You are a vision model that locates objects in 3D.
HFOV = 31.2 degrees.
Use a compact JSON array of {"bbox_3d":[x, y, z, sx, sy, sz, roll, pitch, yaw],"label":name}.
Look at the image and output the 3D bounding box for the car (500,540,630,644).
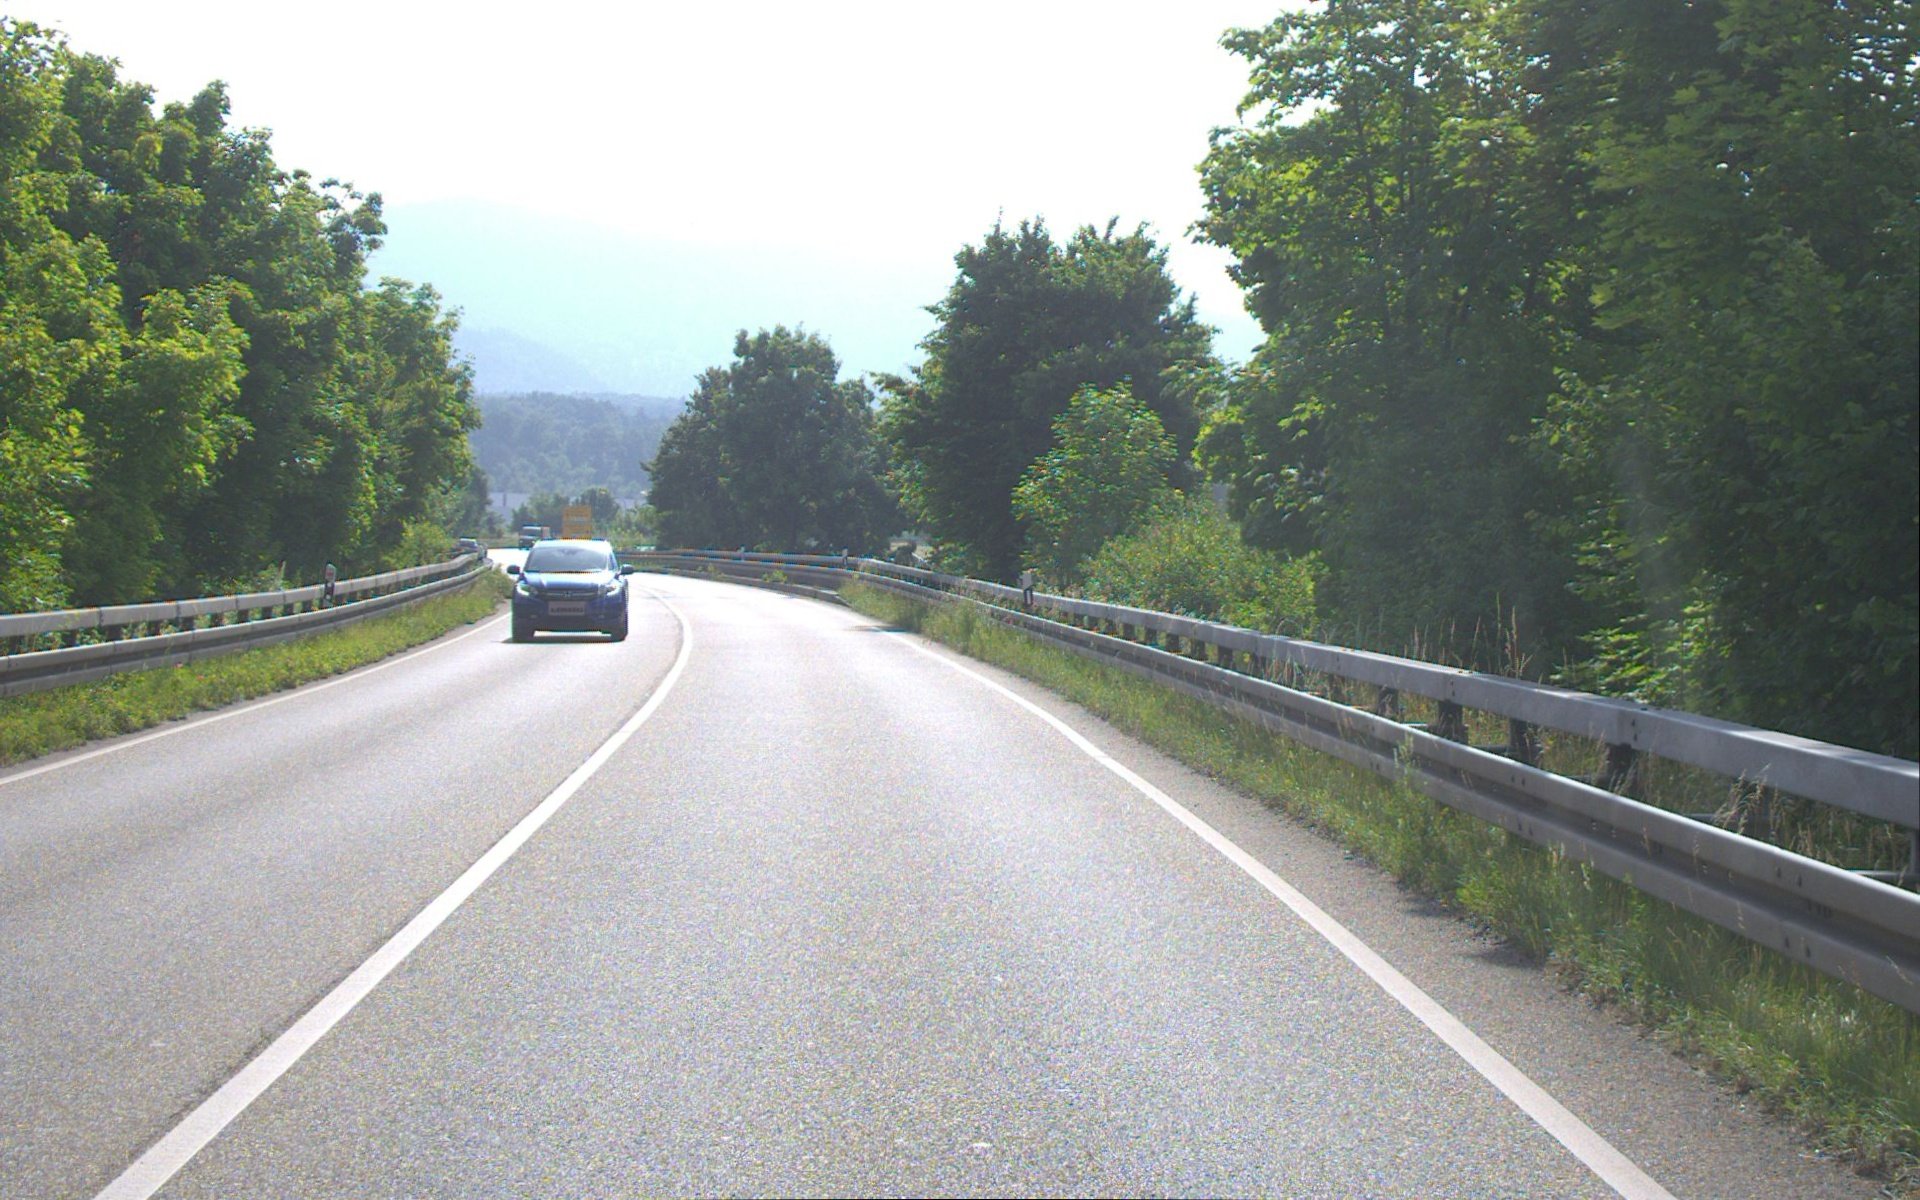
[{"bbox_3d":[-6.280,-0.152,55.034,1.807,1.555,3.993,-2,1,-3],"label":"car"}]
